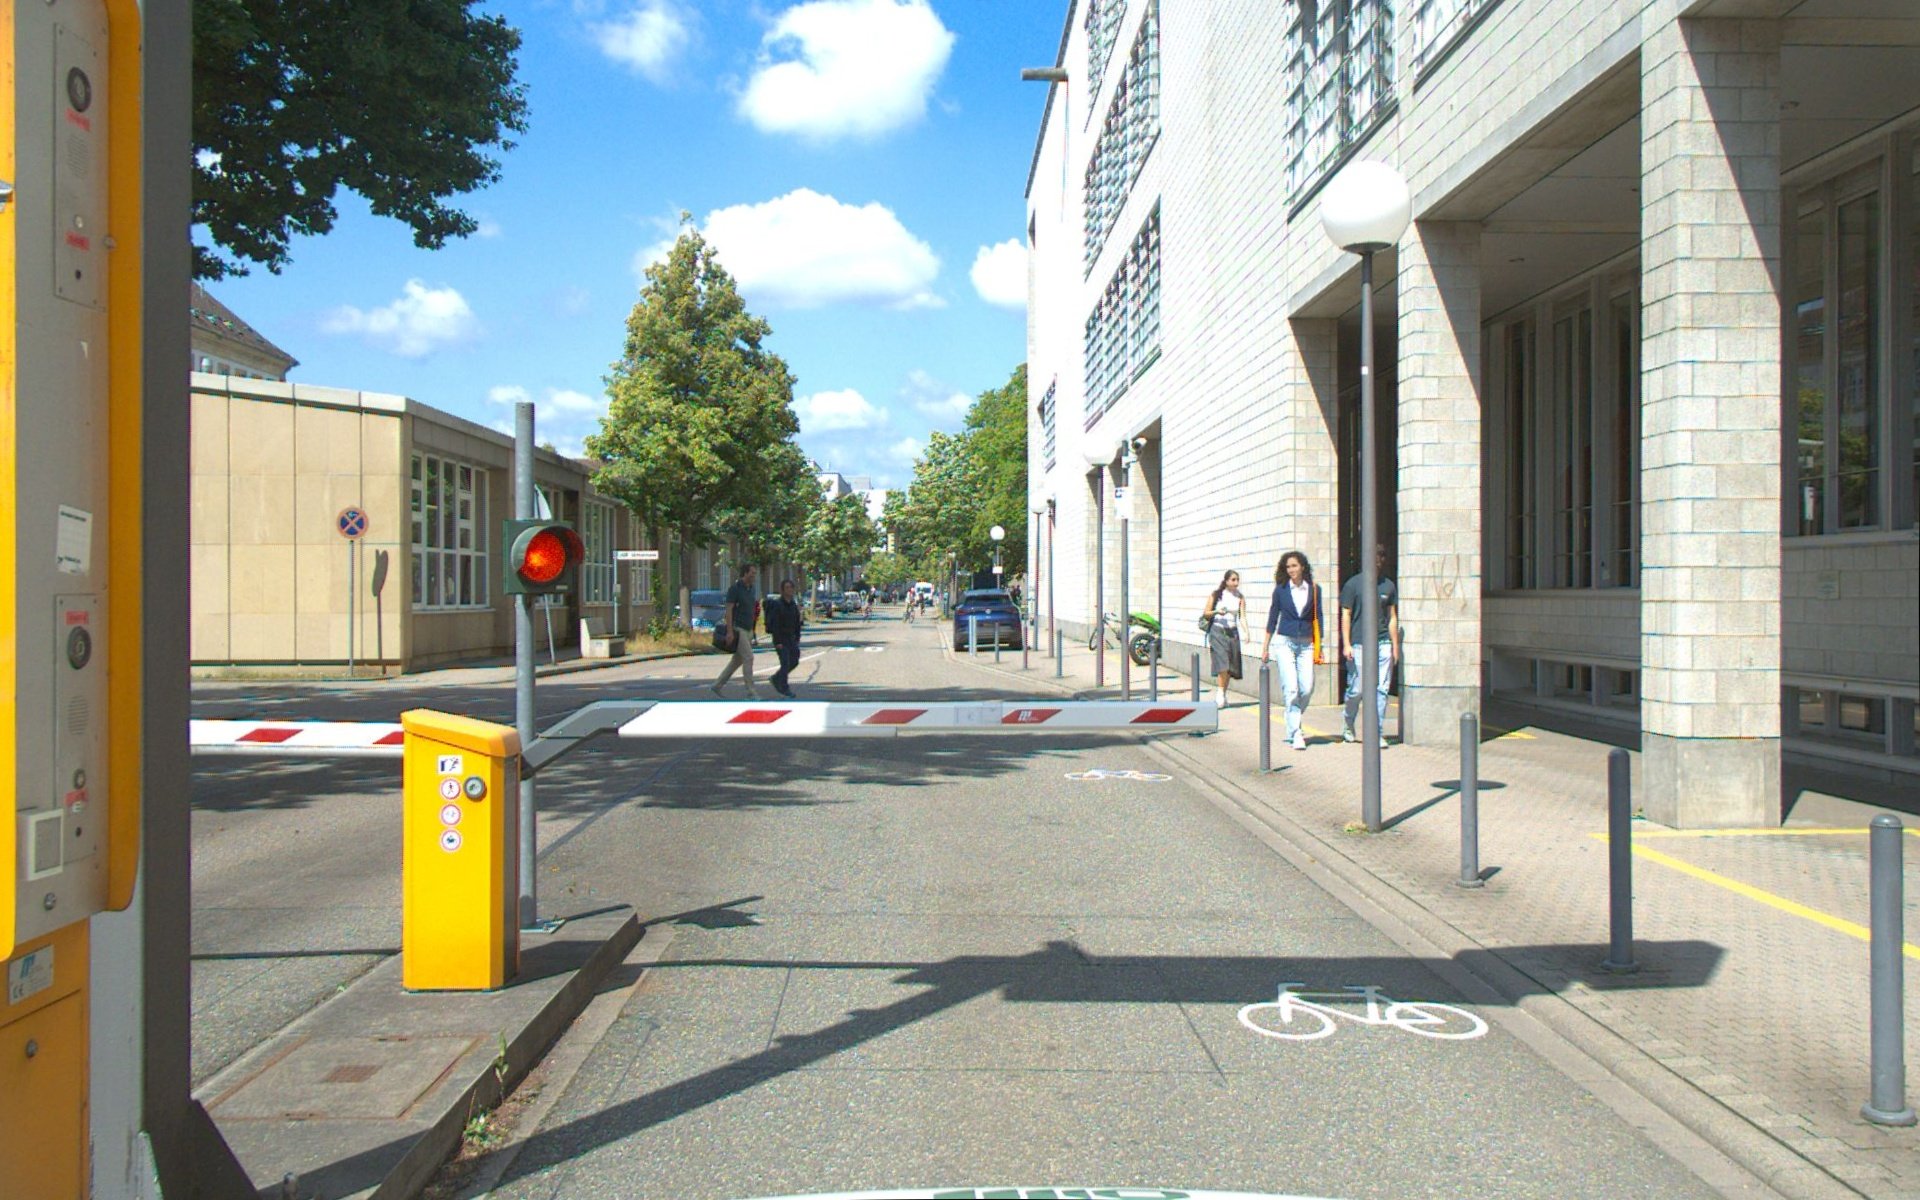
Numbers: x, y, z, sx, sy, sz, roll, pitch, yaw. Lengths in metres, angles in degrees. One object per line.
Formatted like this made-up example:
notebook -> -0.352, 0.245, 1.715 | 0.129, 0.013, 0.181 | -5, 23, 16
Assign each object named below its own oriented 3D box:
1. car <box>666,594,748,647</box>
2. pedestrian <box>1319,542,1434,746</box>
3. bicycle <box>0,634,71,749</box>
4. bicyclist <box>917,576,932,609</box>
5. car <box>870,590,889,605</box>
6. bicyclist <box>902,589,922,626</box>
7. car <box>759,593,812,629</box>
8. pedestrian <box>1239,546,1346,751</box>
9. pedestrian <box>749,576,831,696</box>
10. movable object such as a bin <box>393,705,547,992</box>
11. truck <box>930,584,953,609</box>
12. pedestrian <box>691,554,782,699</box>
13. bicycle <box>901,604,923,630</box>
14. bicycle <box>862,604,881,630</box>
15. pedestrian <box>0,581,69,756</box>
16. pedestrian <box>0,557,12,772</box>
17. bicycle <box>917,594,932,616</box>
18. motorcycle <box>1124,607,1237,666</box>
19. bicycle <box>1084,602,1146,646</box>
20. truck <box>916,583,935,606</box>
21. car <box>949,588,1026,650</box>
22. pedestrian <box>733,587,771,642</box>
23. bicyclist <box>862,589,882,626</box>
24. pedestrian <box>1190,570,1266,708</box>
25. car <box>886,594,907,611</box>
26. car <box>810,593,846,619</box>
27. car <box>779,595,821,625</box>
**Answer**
car -> -7.868, 0.621, 51.688 | 1.953, 1.573, 4.211 | 0, 0, -1
pedestrian -> 3.843, 0.387, 15.313 | 0.751, 1.811, 0.910 | -2, 1, -3
bicycle -> -9.614, 0.901, 16.384 | 0.632, 1.067, 1.899 | -1, 1, -2
bicyclist -> -2.411, -0.525, 111.033 | 0.967, 2.169, 1.036 | -1, -2, -2
car -> -10.032, -0.300, 206.310 | 1.952, 1.750, 4.000 | -1, -2, 1
bicyclist -> -2.554, 0.395, 87.666 | 0.968, 1.917, 1.035 | 0, -2, -6
car -> -7.731, 0.465, 73.747 | 1.953, 1.573, 4.211 | 0, 0, -1
pedestrian -> 3.066, 0.425, 15.345 | 0.681, 1.811, 1.085 | -2, 1, -3
pedestrian -> -2.438, 0.509, 23.676 | 0.884, 1.661, 0.878 | 1, -1, -30
movable object such as a bin -> -1.667, 0.834, 5.651 | 0.407, 0.921, 0.353 | 0, 0, 3
truck -> -1.701, -0.311, 149.417 | 1.954, 2.049, 3.997 | -1, -2, -3
pedestrian -> -3.096, 0.363, 22.863 | 0.992, 1.959, 0.878 | 1, -1, -31
bicycle -> -2.539, 0.902, 87.486 | 0.968, 1.339, 2.960 | 0, -2, -6
bicycle -> -4.668, 0.904, 87.588 | 0.967, 1.339, 2.962 | -1, -2, -2
pedestrian -> -9.078, 0.632, 15.654 | 0.837, 1.614, 0.805 | -1, 1, -3
pedestrian -> -8.539, 0.558, 13.788 | 0.691, 1.841, 1.001 | -1, 1, -2
bicycle -> -2.383, 0.351, 110.940 | 0.967, 1.339, 2.963 | -1, -2, -2
motorcycle -> 4.276, 0.705, 32.118 | 2.079, 1.040, 0.660 | -2, -2, 0
bicycle -> 3.920, 0.608, 41.761 | 1.511, 1.085, 0.648 | -1, 0, 6
truck -> -3.751, -0.571, 179.880 | 1.954, 2.311, 4.613 | -1, -2, -3
car -> 0.703, 0.478, 44.698 | 1.953, 1.573, 4.211 | 0, 0, -1
pedestrian -> -6.347, 0.446, 50.561 | 0.875, 1.661, 0.888 | 0, -1, 13
bicyclist -> -4.671, 0.422, 87.710 | 0.967, 1.917, 1.036 | -1, -2, -1
pedestrian -> 3.351, 0.472, 20.755 | 0.726, 1.661, 0.887 | -2, 1, -3
car -> -6.734, 0.282, 175.420 | 1.952, 1.750, 4.000 | -1, -2, 1
car -> -8.097, 0.333, 101.878 | 1.953, 1.573, 4.211 | 0, 0, -1
car -> -8.630, 0.531, 89.469 | 1.953, 1.573, 4.211 | 0, 0, -1
